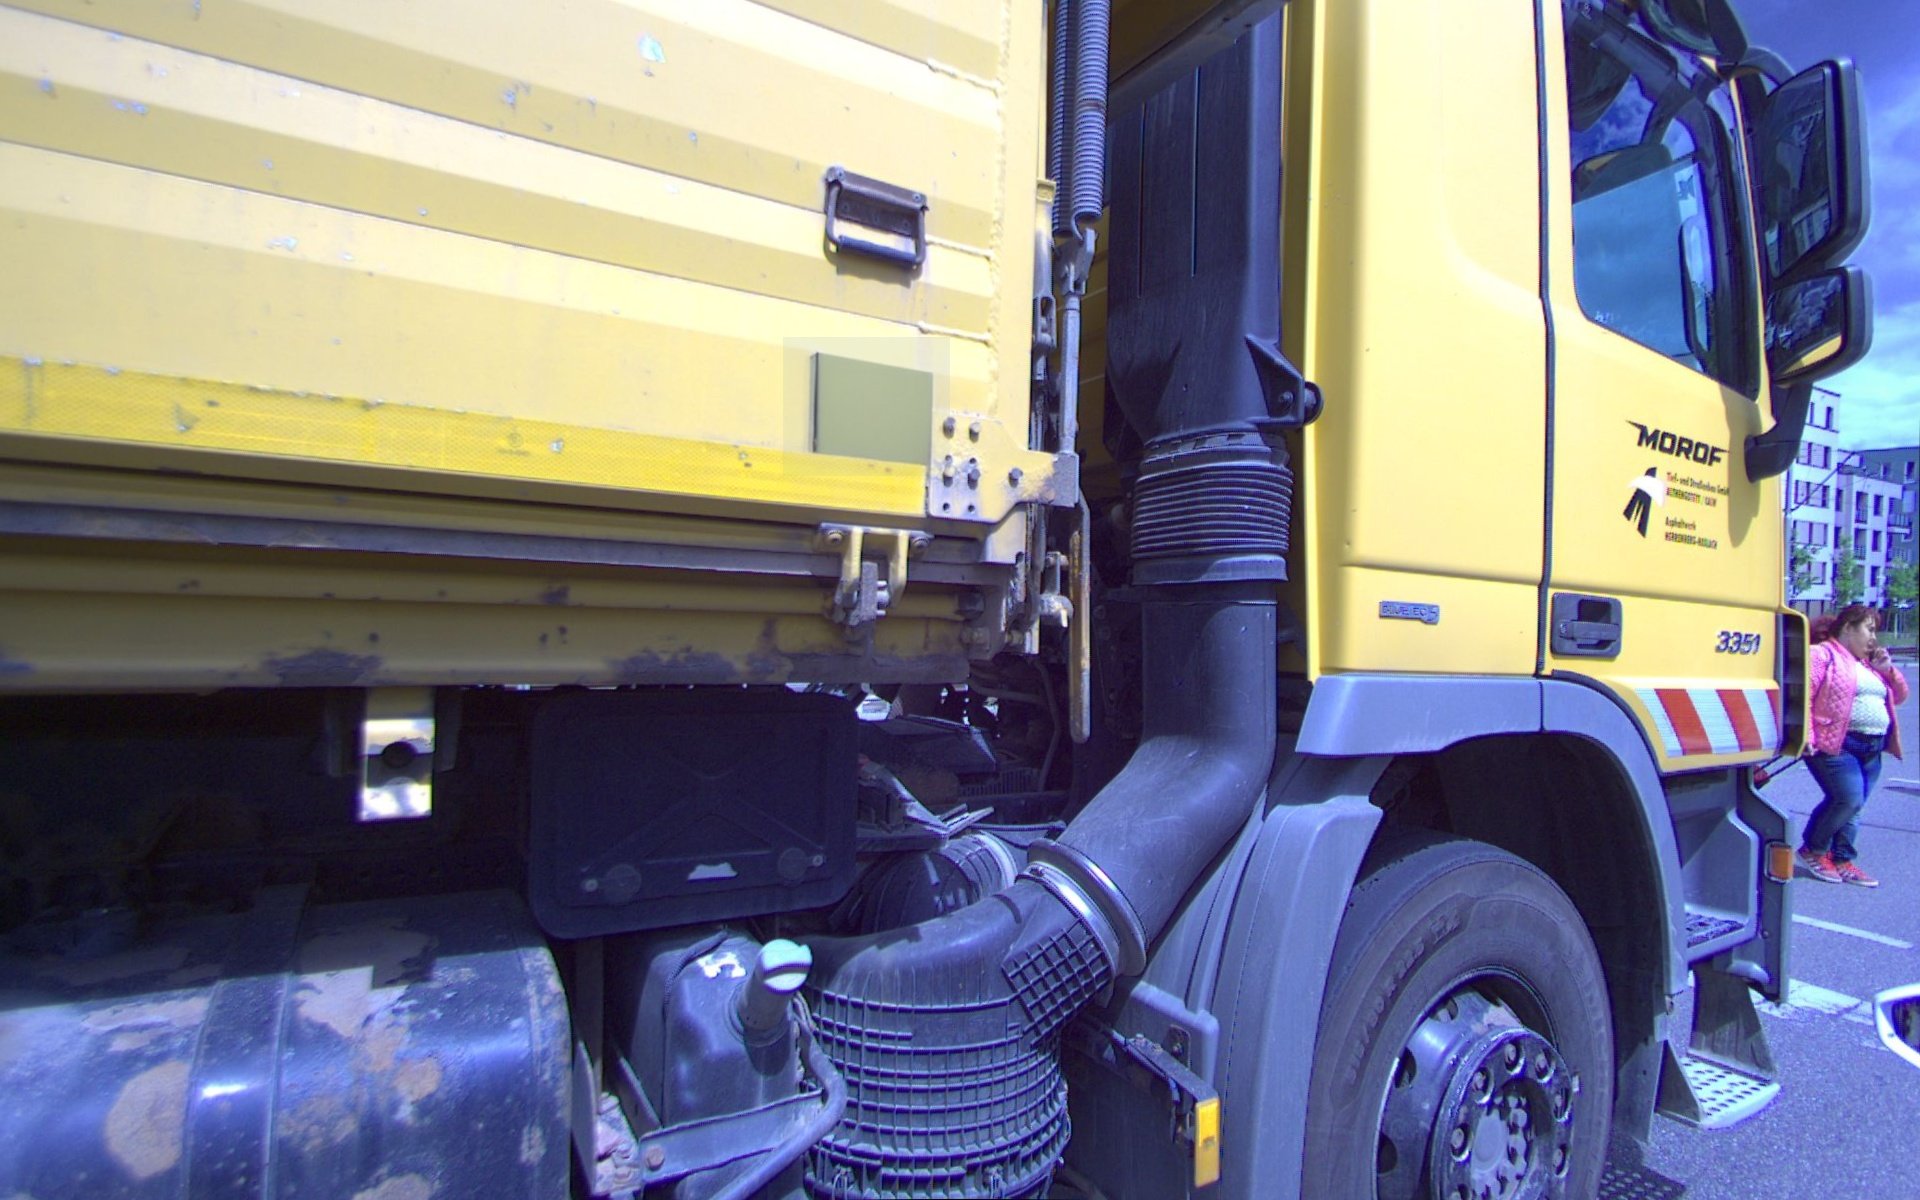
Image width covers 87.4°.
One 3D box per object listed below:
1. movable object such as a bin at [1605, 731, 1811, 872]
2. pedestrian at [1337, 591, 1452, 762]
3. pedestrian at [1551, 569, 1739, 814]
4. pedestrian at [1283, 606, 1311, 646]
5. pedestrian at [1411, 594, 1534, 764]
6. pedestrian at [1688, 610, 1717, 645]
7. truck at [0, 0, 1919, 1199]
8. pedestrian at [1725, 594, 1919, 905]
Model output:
[{"bbox_3d":[4.658,1.223,6.280,0.768,0.671,0.792,1,0,-29],"label":"movable object such as a bin"},{"bbox_3d":[4.458,0.749,10.324,0.726,1.662,0.817,1,0,-35],"label":"pedestrian"},{"bbox_3d":[5.490,0.673,8.063,0.940,1.798,1.001,1,0,-39],"label":"pedestrian"},{"bbox_3d":[15.001,1.145,44.667,1.080,1.698,0.925,1,0,25],"label":"pedestrian"},{"bbox_3d":[5.288,0.776,10.377,0.758,1.656,0.862,1,0,-36],"label":"pedestrian"},{"bbox_3d":[32.645,1.200,44.148,0.628,1.536,0.827,1,0,-30],"label":"pedestrian"},{"bbox_3d":[-1.742,-0.235,1.667,7.916,3.439,3.033,1,0,-32],"label":"truck"},{"bbox_3d":[4.989,0.762,5.640,0.737,1.575,0.877,1,0,-29],"label":"pedestrian"}]
